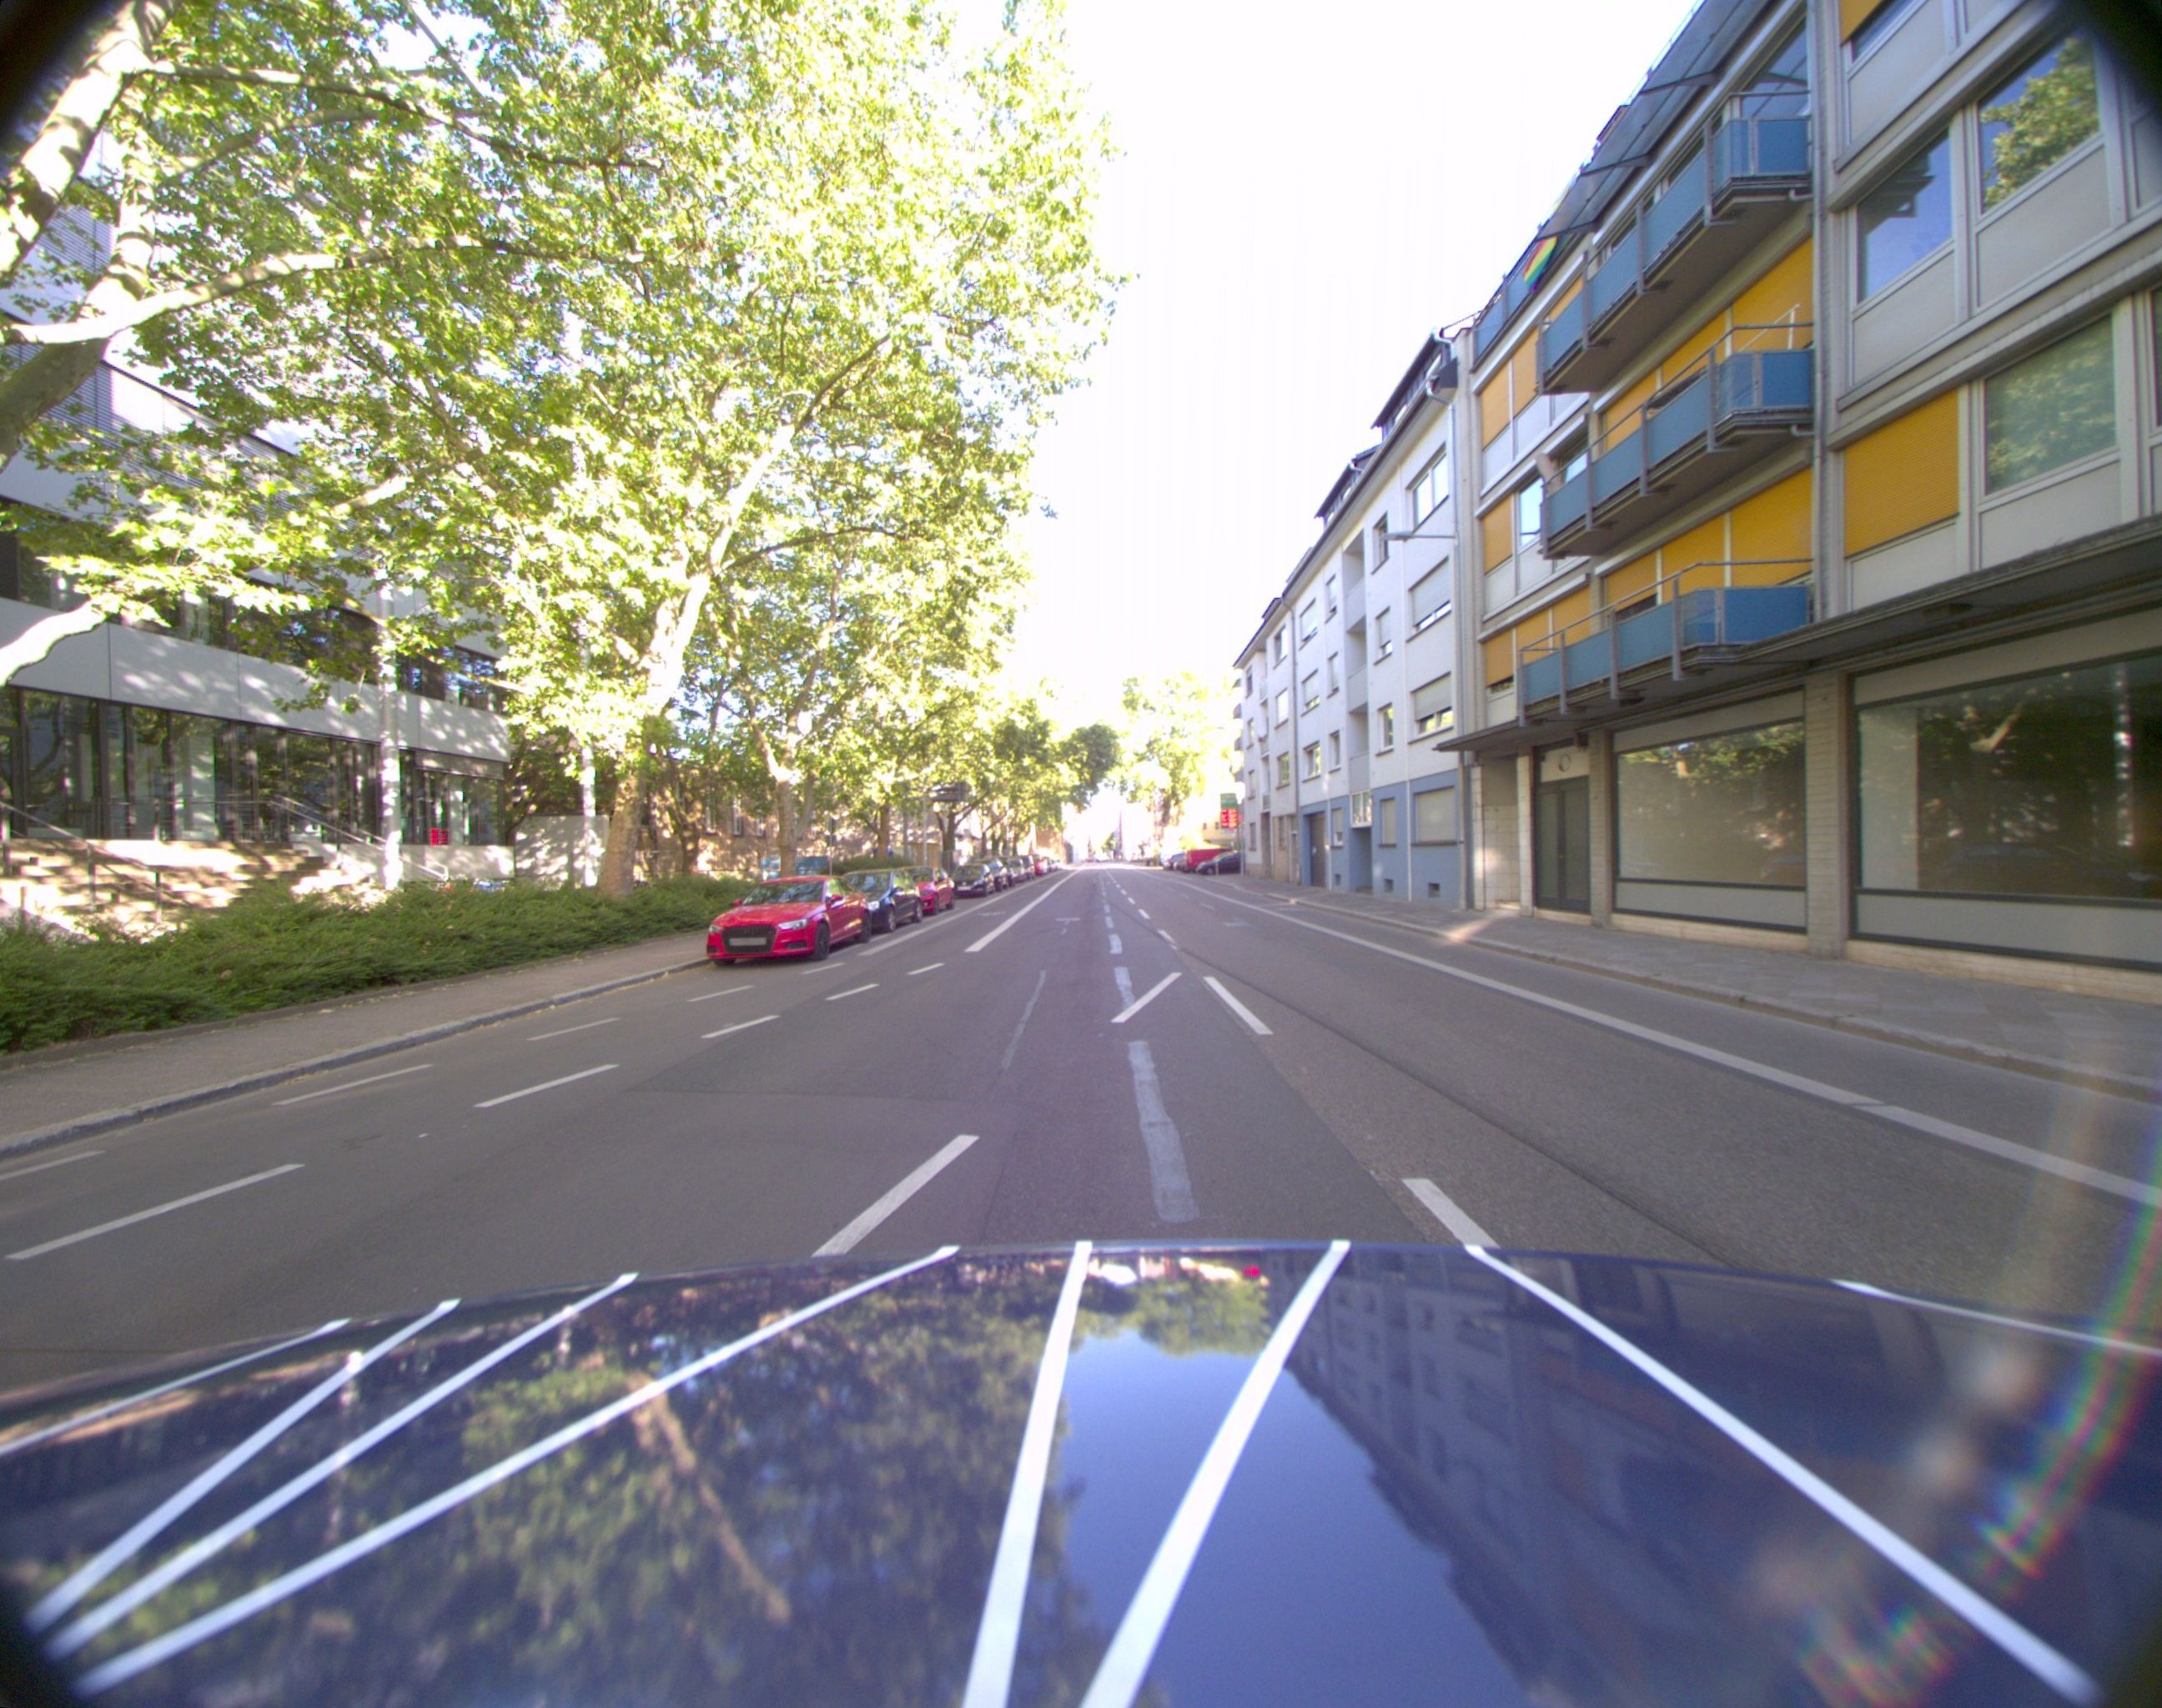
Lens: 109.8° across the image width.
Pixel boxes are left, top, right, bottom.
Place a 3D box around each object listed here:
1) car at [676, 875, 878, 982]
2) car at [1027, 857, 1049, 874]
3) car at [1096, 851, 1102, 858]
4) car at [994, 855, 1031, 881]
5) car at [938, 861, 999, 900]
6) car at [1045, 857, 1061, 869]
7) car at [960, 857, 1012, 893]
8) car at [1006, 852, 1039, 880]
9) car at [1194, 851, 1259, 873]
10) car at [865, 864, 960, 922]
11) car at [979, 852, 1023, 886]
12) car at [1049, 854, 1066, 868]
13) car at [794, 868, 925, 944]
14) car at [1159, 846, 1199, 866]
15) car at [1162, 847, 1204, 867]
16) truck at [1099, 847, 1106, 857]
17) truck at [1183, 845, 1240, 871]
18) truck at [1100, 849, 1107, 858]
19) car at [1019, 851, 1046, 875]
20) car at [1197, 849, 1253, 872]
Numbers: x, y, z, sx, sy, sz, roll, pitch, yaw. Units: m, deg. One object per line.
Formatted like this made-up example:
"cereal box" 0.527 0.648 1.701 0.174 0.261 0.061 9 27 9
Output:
"car" -5.192 1.192 13.637 1.907 1.417 3.999 -2 1 1
"car" -4.040 1.076 71.996 1.824 1.466 3.999 -2 1 1
"car" 6.162 0.179 259.454 1.998 2.002 3.999 -2 1 1
"car" -4.522 0.900 50.947 1.998 1.557 4.142 -2 1 1
"car" -4.842 1.123 33.178 1.998 1.447 3.589 -2 1 1
"car" -3.350 1.064 92.737 1.693 1.364 3.999 -2 1 1
"car" -4.688 1.000 38.127 1.998 1.592 4.142 -2 1 1
"car" -4.237 0.838 55.565 1.998 1.838 3.999 -2 1 1
"car" 10.452 0.565 54.782 4.324 1.398 1.658 -2 1 0
"car" -5.132 1.144 23.675 1.998 1.490 3.828 -2 1 1
"car" -4.611 0.833 44.516 1.998 1.777 4.572 -2 1 1
"car" -3.188 0.900 103.007 1.998 1.682 3.999 -2 1 1
"car" -5.177 1.164 18.318 1.998 1.452 3.644 -2 1 1
"car" 10.946 0.210 85.312 4.236 2.025 2.000 -2 1 3
"car" 10.860 0.276 80.912 4.236 1.945 2.000 -2 1 3
"truck" 6.822 -0.669 241.809 1.998 3.202 5.314 -2 1 0
"truck" 10.283 0.313 60.209 4.092 1.913 2.000 -2 1 0
"truck" 6.874 -0.307 233.822 1.998 2.653 5.314 -2 1 0
"car" -4.225 0.775 66.420 1.998 1.960 3.999 -2 1 1
"car" 10.797 0.444 57.114 3.810 1.563 1.658 -2 1 0
